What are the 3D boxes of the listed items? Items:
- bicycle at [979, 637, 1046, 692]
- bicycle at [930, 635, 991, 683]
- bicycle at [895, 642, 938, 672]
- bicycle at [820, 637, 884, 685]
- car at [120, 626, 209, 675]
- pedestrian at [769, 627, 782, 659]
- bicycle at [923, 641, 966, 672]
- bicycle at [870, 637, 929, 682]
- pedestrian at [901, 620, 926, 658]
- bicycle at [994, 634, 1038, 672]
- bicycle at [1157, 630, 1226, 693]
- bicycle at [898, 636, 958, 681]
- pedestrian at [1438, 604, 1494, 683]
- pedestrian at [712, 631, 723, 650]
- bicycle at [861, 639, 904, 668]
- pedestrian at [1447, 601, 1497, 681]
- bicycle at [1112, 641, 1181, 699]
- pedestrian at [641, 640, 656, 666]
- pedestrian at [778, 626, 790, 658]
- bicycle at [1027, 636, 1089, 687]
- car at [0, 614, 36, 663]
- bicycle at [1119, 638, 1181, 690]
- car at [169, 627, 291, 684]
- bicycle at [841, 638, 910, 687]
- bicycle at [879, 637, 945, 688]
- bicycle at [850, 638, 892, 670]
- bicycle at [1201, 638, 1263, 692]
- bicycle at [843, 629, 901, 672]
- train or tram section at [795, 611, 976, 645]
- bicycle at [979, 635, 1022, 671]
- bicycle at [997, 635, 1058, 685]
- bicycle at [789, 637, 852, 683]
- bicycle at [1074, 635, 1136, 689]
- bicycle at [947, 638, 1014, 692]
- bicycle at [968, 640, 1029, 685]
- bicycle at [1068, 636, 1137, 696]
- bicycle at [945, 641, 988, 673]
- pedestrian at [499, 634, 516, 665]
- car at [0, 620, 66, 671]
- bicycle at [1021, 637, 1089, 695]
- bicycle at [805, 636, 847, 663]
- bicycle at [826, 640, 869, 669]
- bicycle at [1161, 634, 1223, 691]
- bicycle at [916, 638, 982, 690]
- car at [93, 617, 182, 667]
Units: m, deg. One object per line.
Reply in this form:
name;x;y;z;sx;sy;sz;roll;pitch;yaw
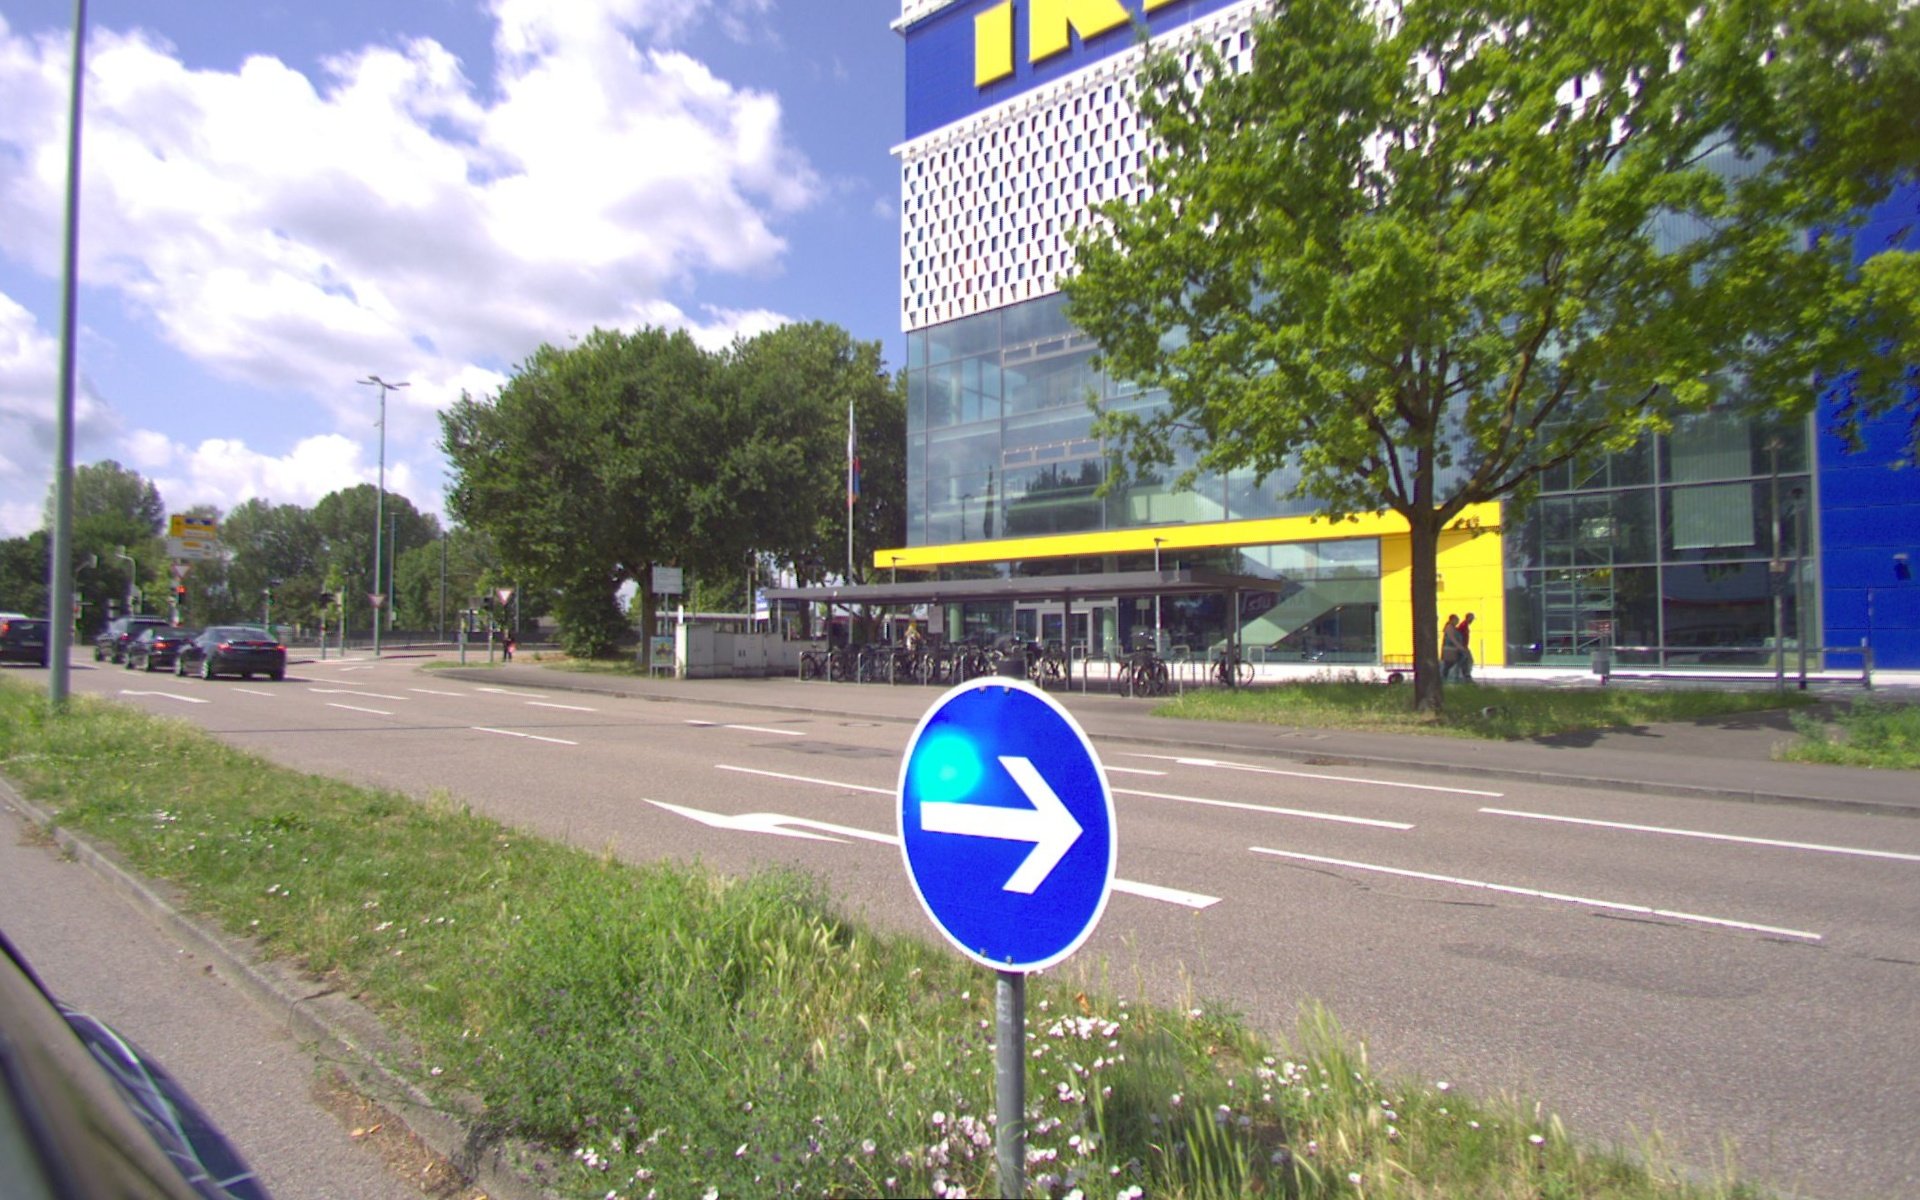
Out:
bicycle;1.311;1.576;25.008;0.629;1.282;1.905;-3;-3;40
bicycle;0.031;1.663;28.863;0.629;1.282;1.905;-3;-3;40
bicycle;-1.630;2.103;37.860;0.528;1.078;1.916;-1;-2;36
bicycle;-3.060;1.709;28.722;0.629;1.282;1.905;-3;-3;40
car;-25.053;1.574;31.832;4.094;1.402;1.397;-1;-4;41
pedestrian;-9.770;2.273;53.546;0.515;1.716;0.405;-2;-3;35
bicycle;-0.549;2.050;37.045;0.519;1.098;1.912;-2;-3;36
bicycle;-1.790;1.764;30.283;0.629;1.282;1.905;-3;-3;40
pedestrian;-2.121;1.759;46.238;0.709;1.719;0.888;-1;-2;35
bicycle;1.949;1.818;34.992;0.596;1.253;1.927;-1;-2;36
bicycle;5.001;1.293;21.792;0.629;1.282;1.905;-3;-3;40
bicycle;-0.933;1.700;29.771;0.629;1.282;1.905;-3;-3;40
pedestrian;11.264;0.954;22.528;0.886;1.715;0.940;-1;-2;41
pedestrian;-23.663;3.965;98.778;0.759;1.867;0.783;-1;-4;32
bicycle;-2.951;2.037;38.681;0.528;1.078;1.916;-1;-2;36
pedestrian;12.063;0.946;23.839;0.886;1.836;0.746;-1;-2;41
bicycle;4.169;1.531;22.489;0.629;1.192;1.905;-3;-3;40
pedestrian;-16.144;2.725;52.457;0.538;1.334;0.485;-1;-2;41
pedestrian;-9.530;2.263;54.733;0.408;1.716;0.522;-2;-2;32
bicycle;2.576;1.586;26.478;0.629;1.282;1.905;-3;-3;40
car;-34.407;1.313;35.931;4.374;1.632;1.691;0;-3;40
bicycle;4.685;1.548;24.824;0.629;1.188;1.905;-3;-3;40
car;-20.348;1.512;28.149;4.515;1.432;1.646;-1;-4;40
bicycle;-2.319;1.710;28.017;0.629;1.282;2.068;-3;-3;40
bicycle;-1.277;1.664;27.254;0.629;1.282;1.905;-3;-3;40
bicycle;-3.424;2.064;39.013;0.467;1.181;1.938;-2;-3;36
bicycle;6.350;1.486;23.568;0.629;1.193;1.905;-3;-3;40
bicycle;-2.700;1.538;31.255;0.629;1.282;1.905;-3;-3;40
train or tram section;-7.544;3.288;113.064;4.525;3.055;24.799;-2;-4;39
bicycle;1.433;1.830;35.432;0.528;1.219;1.916;-1;-2;36
bicycle;1.842;1.605;27.444;0.629;1.282;1.905;-3;-3;40
bicycle;-4.087;1.751;29.748;0.629;1.282;1.905;-3;-3;40
bicycle;3.689;1.550;25.693;0.629;1.282;1.905;-3;-3;40
bicycle;0.541;1.629;25.754;0.629;1.282;1.905;-3;-3;40
bicycle;1.086;1.711;27.982;0.629;1.192;1.905;-3;-3;40
bicycle;3.291;1.490;23.238;0.629;1.282;1.905;-3;-3;40
bicycle;0.245;2.037;36.398;0.528;1.078;1.916;-1;-2;36
pedestrian;-22.139;2.430;49.540;0.616;1.502;0.435;-1;-2;24
car;-29.275;1.384;31.466;4.129;1.505;1.587;-1;-4;40
bicycle;2.264;1.544;23.980;0.629;1.282;1.905;-3;-3;40
bicycle;-5.400;1.979;40.825;0.528;1.078;1.916;-1;-2;36
bicycle;-4.407;2.146;39.902;0.528;1.078;1.916;-1;-2;36
bicycle;5.549;1.470;24.153;0.629;1.282;1.905;-3;-3;40
bicycle;-0.259;1.648;26.484;0.629;1.282;1.905;-3;-3;40
car;-30.123;1.512;37.023;3.997;1.627;1.752;0;-4;40
